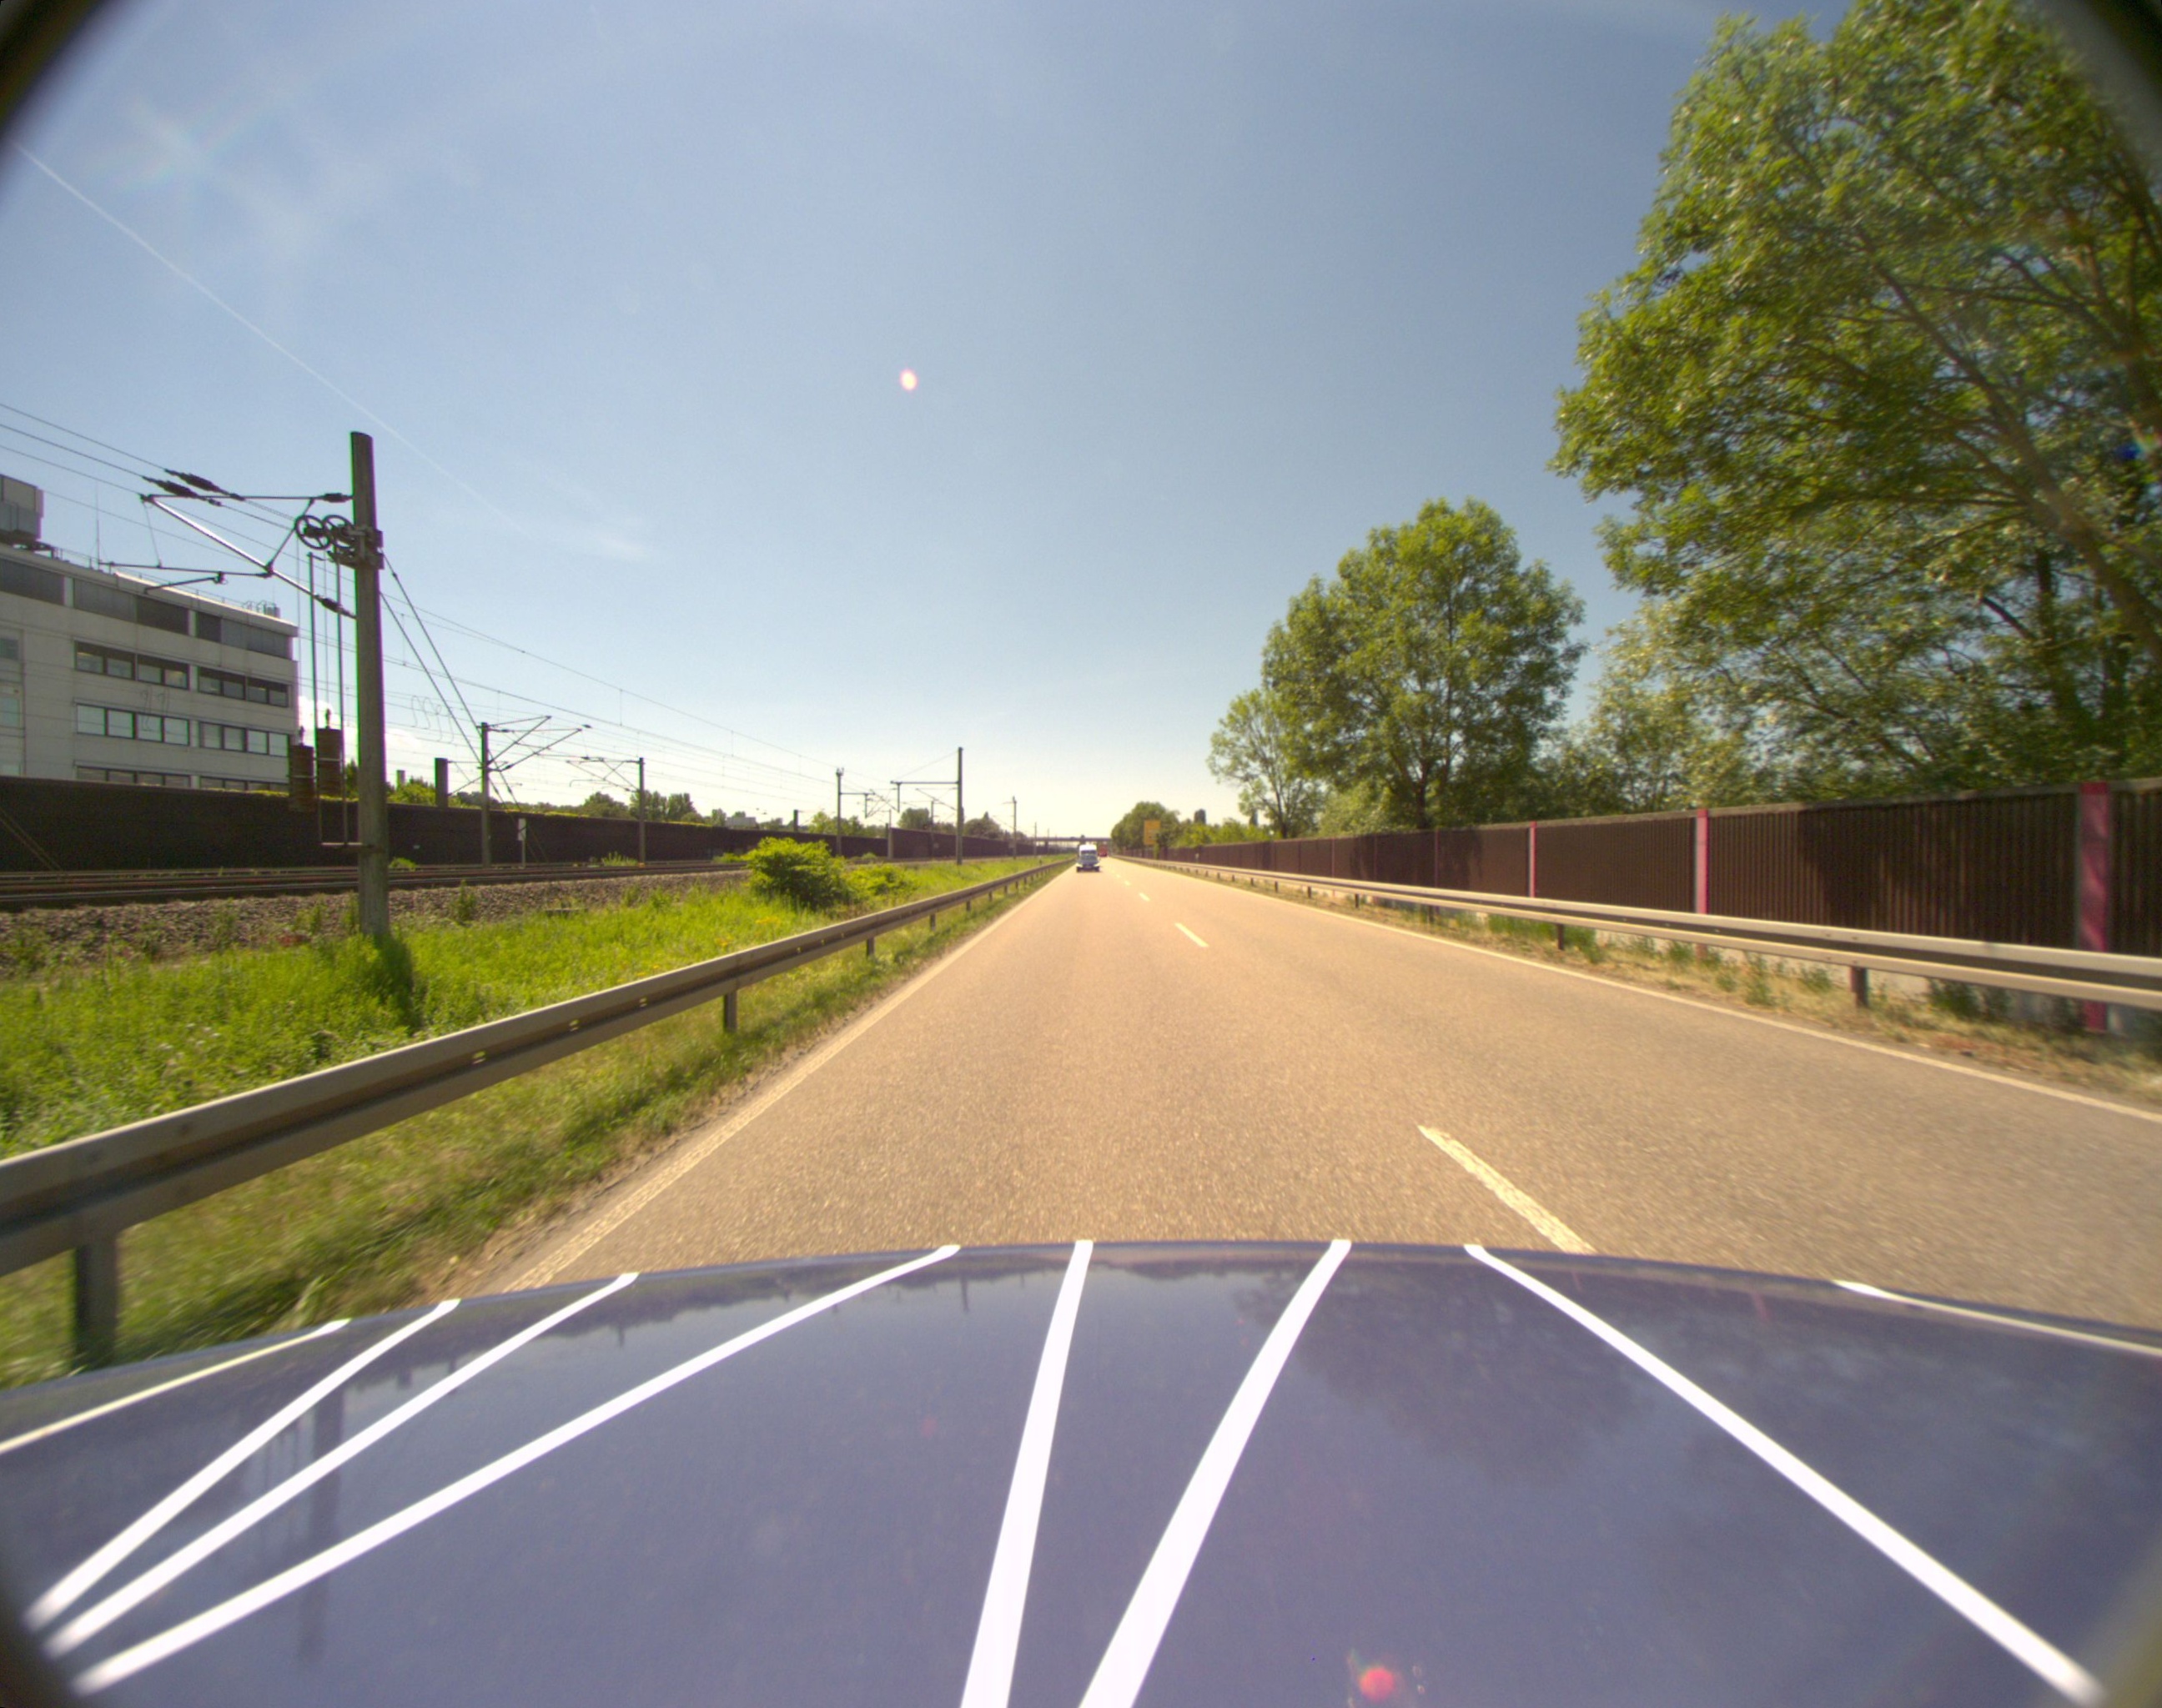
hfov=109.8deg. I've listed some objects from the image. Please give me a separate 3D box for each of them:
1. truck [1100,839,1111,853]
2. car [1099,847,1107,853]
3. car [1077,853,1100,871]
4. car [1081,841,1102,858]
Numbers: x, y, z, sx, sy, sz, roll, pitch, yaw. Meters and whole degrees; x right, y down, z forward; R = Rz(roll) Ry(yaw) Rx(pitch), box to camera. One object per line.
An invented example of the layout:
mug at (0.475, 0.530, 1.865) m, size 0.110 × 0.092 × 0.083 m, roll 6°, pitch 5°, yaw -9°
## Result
truck at (7.642, -2.529, 239.026) m, size 3.132 × 3.942 × 9.718 m, roll -2°, pitch 1°, yaw 1°
car at (6.557, -1.215, 227.121) m, size 1.994 × 1.486 × 4.492 m, roll -2°, pitch 0°, yaw 1°
car at (0.626, 0.623, 61.070) m, size 1.758 × 1.313 × 4.000 m, roll -2°, pitch 0°, yaw 1°
car at (1.184, -0.506, 84.569) m, size 2.161 × 1.702 × 4.492 m, roll -2°, pitch 0°, yaw 1°
